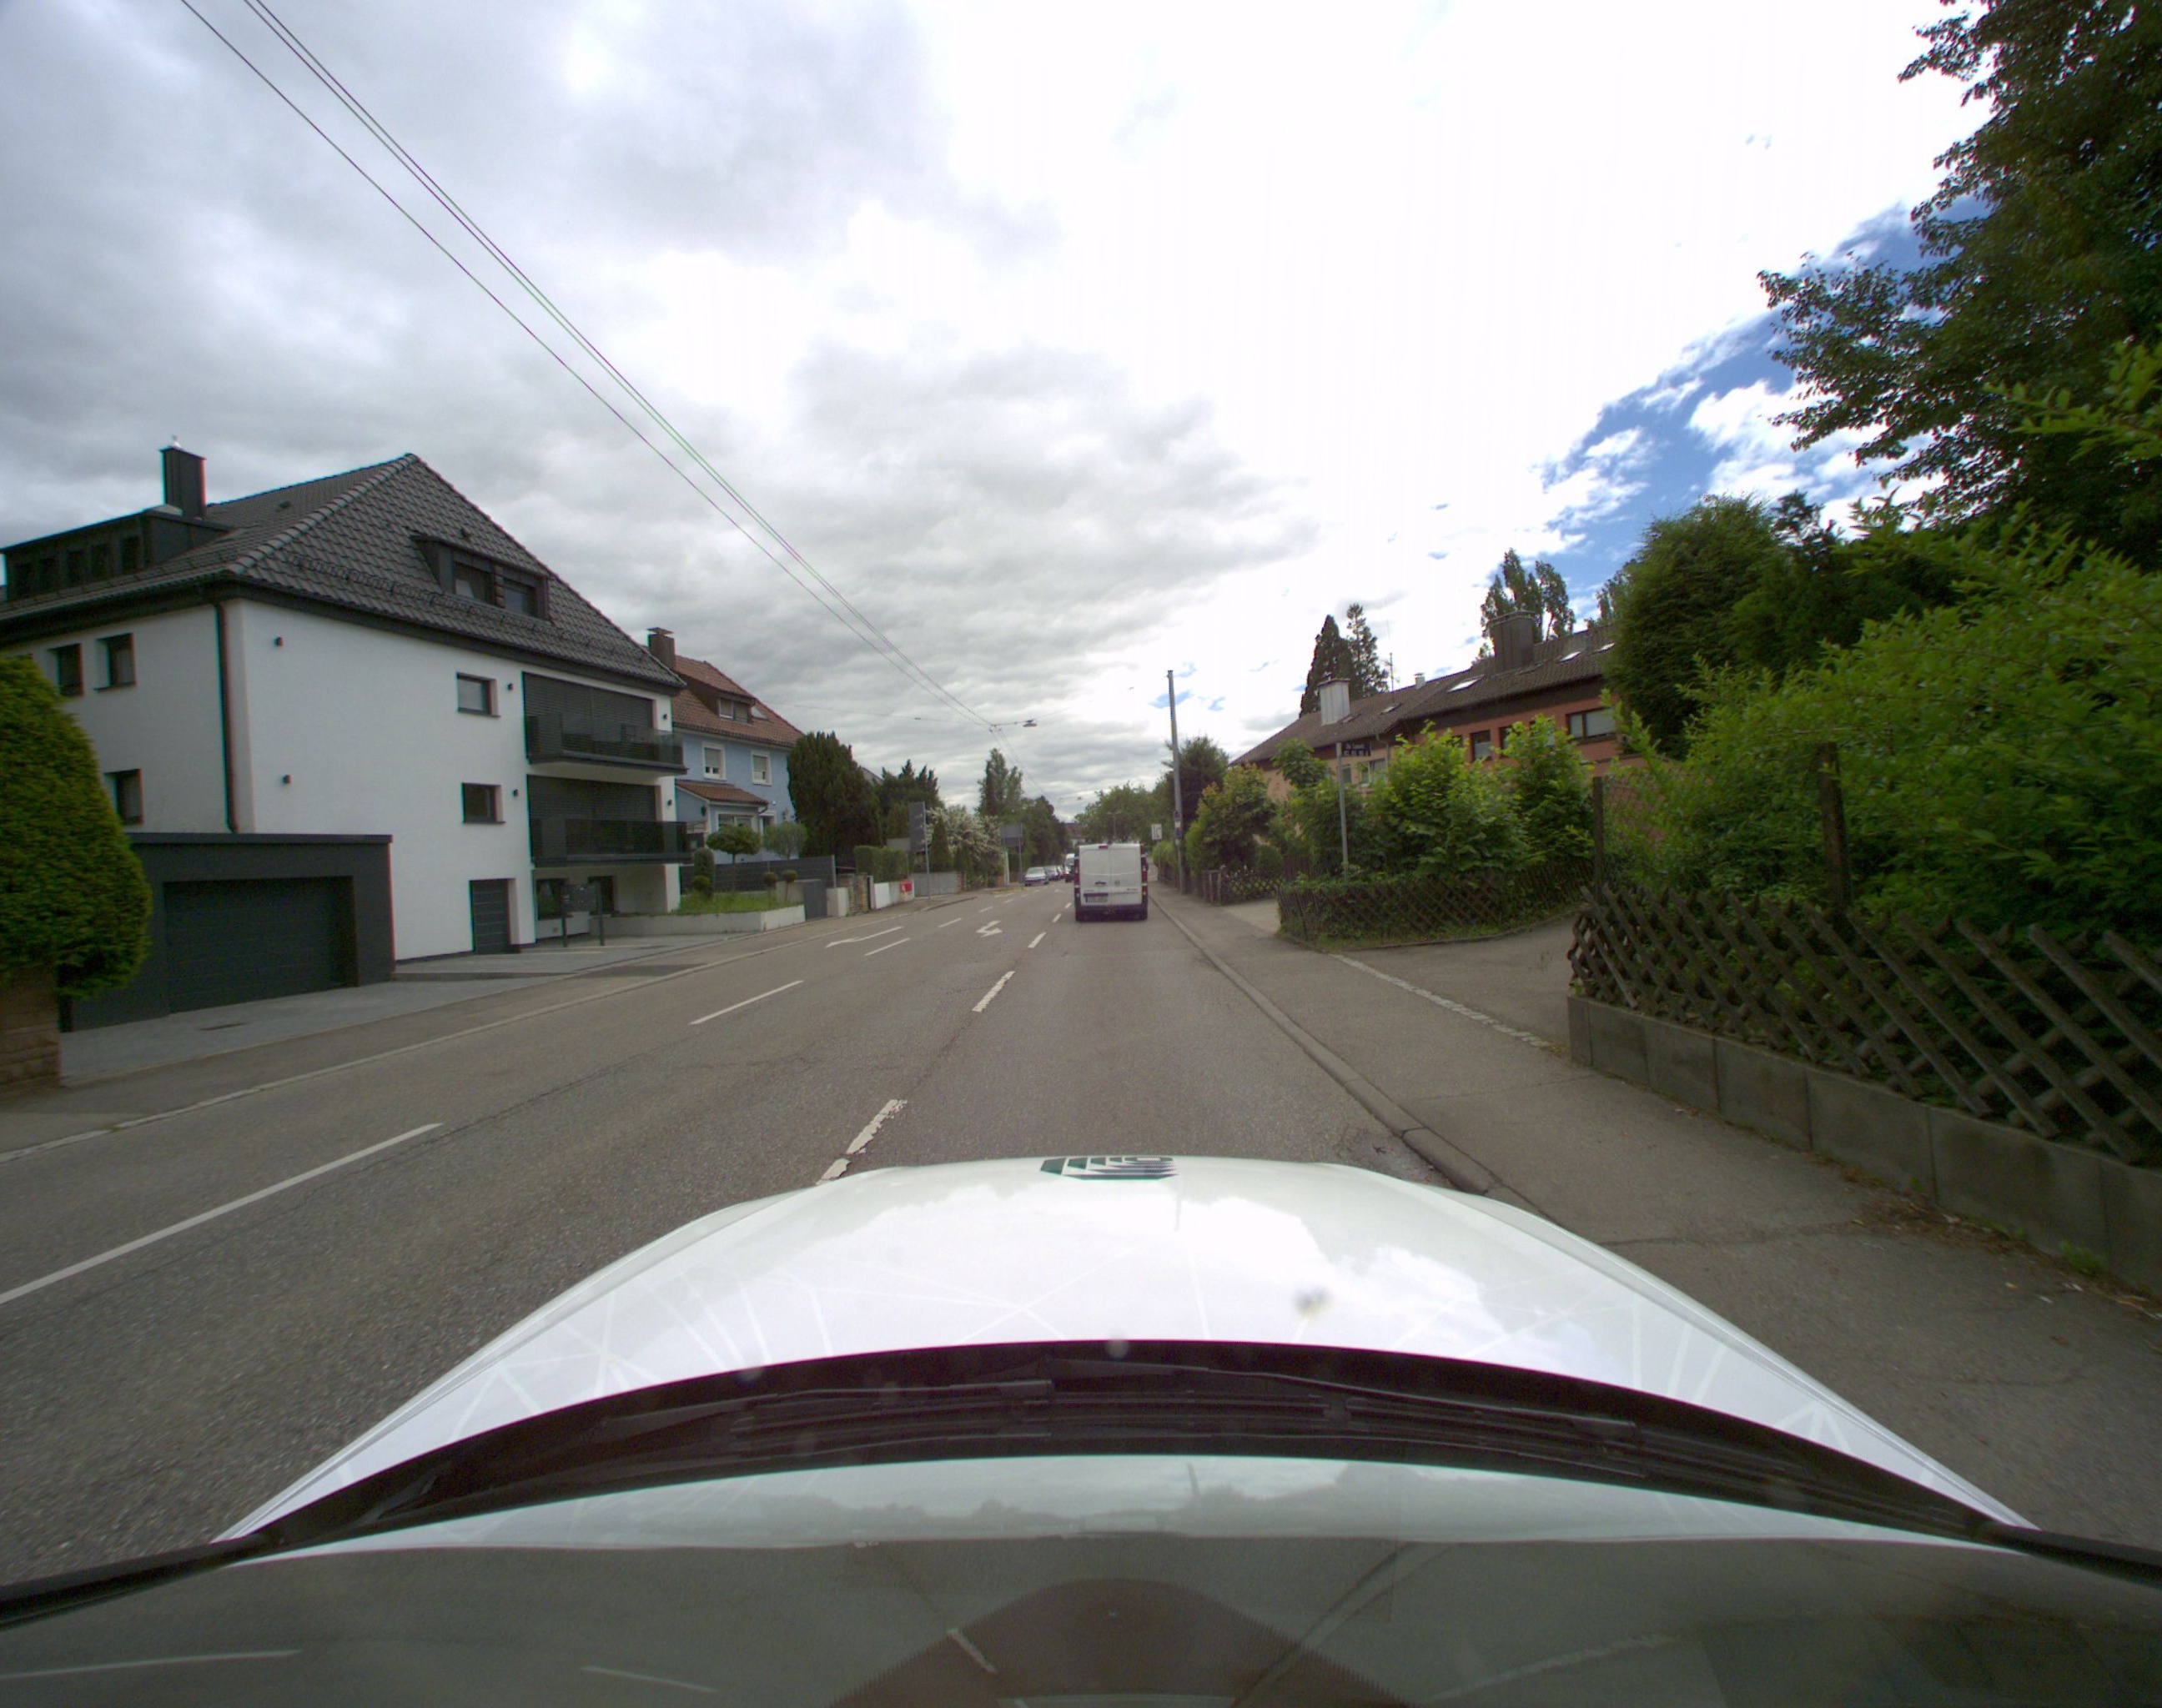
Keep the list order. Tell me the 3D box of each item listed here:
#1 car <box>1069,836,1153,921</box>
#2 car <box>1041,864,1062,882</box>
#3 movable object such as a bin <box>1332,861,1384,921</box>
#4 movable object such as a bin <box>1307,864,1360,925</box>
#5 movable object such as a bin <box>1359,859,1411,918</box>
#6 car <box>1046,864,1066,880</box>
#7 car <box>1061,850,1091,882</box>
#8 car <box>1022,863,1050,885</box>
[{"bbox_3d":[0.794,0.611,22.298,1.999,2.038,5.011,-1,0,1],"label":"car"},{"bbox_3d":[-2.921,1.860,81.014,1.672,1.556,3.973,-5,-1,2],"label":"car"},{"bbox_3d":[4.732,0.630,13.946,0.447,0.956,0.683,-7,0,-15],"label":"movable object such as a bin"},{"bbox_3d":[4.262,0.684,13.788,0.448,0.956,0.682,-7,0,-19],"label":"movable object such as a bin"},{"bbox_3d":[5.241,0.586,14.065,0.447,0.956,0.683,-7,0,-15],"label":"movable object such as a bin"},{"bbox_3d":[-2.728,1.957,88.988,1.883,1.494,4.028,-5,0,1],"label":"car"},{"bbox_3d":[-0.357,0.996,69.541,2.103,2.498,6.128,-3,-1,3],"label":"car"},{"bbox_3d":[-3.611,1.597,66.117,1.803,1.455,4.414,-6,0,1],"label":"car"}]
